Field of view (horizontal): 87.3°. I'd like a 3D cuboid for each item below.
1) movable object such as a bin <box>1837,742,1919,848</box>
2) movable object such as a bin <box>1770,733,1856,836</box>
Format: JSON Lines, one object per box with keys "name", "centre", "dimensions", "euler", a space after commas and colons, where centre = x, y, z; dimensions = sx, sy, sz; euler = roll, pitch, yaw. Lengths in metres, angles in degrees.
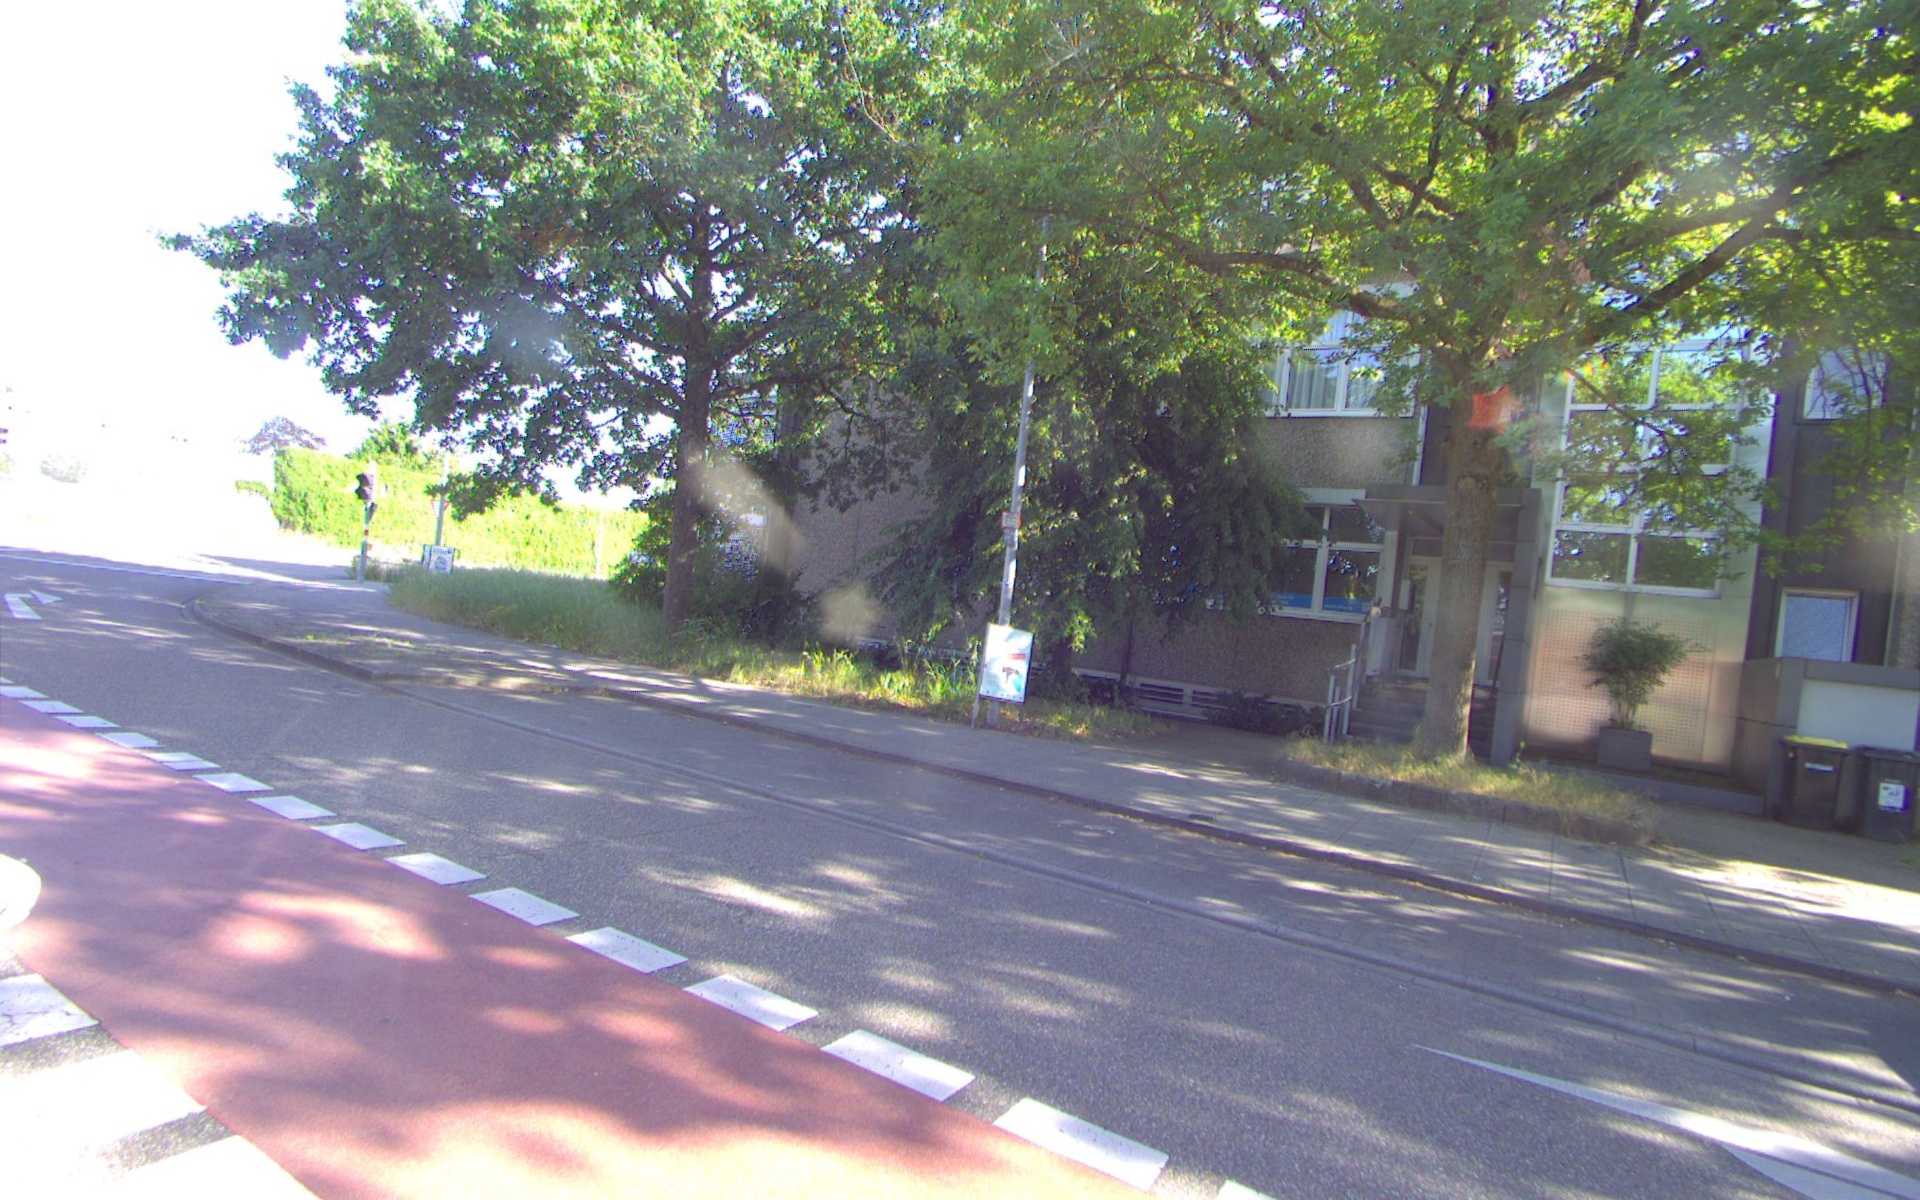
{"name": "movable object such as a bin", "centre": [10.759, 2.252, 11.726], "dimensions": [0.605, 1.075, 0.634], "euler": [6, 0, 30]}
{"name": "movable object such as a bin", "centre": [10.170, 2.183, 12.019], "dimensions": [0.575, 1.070, 0.625], "euler": [7, 0, 30]}
